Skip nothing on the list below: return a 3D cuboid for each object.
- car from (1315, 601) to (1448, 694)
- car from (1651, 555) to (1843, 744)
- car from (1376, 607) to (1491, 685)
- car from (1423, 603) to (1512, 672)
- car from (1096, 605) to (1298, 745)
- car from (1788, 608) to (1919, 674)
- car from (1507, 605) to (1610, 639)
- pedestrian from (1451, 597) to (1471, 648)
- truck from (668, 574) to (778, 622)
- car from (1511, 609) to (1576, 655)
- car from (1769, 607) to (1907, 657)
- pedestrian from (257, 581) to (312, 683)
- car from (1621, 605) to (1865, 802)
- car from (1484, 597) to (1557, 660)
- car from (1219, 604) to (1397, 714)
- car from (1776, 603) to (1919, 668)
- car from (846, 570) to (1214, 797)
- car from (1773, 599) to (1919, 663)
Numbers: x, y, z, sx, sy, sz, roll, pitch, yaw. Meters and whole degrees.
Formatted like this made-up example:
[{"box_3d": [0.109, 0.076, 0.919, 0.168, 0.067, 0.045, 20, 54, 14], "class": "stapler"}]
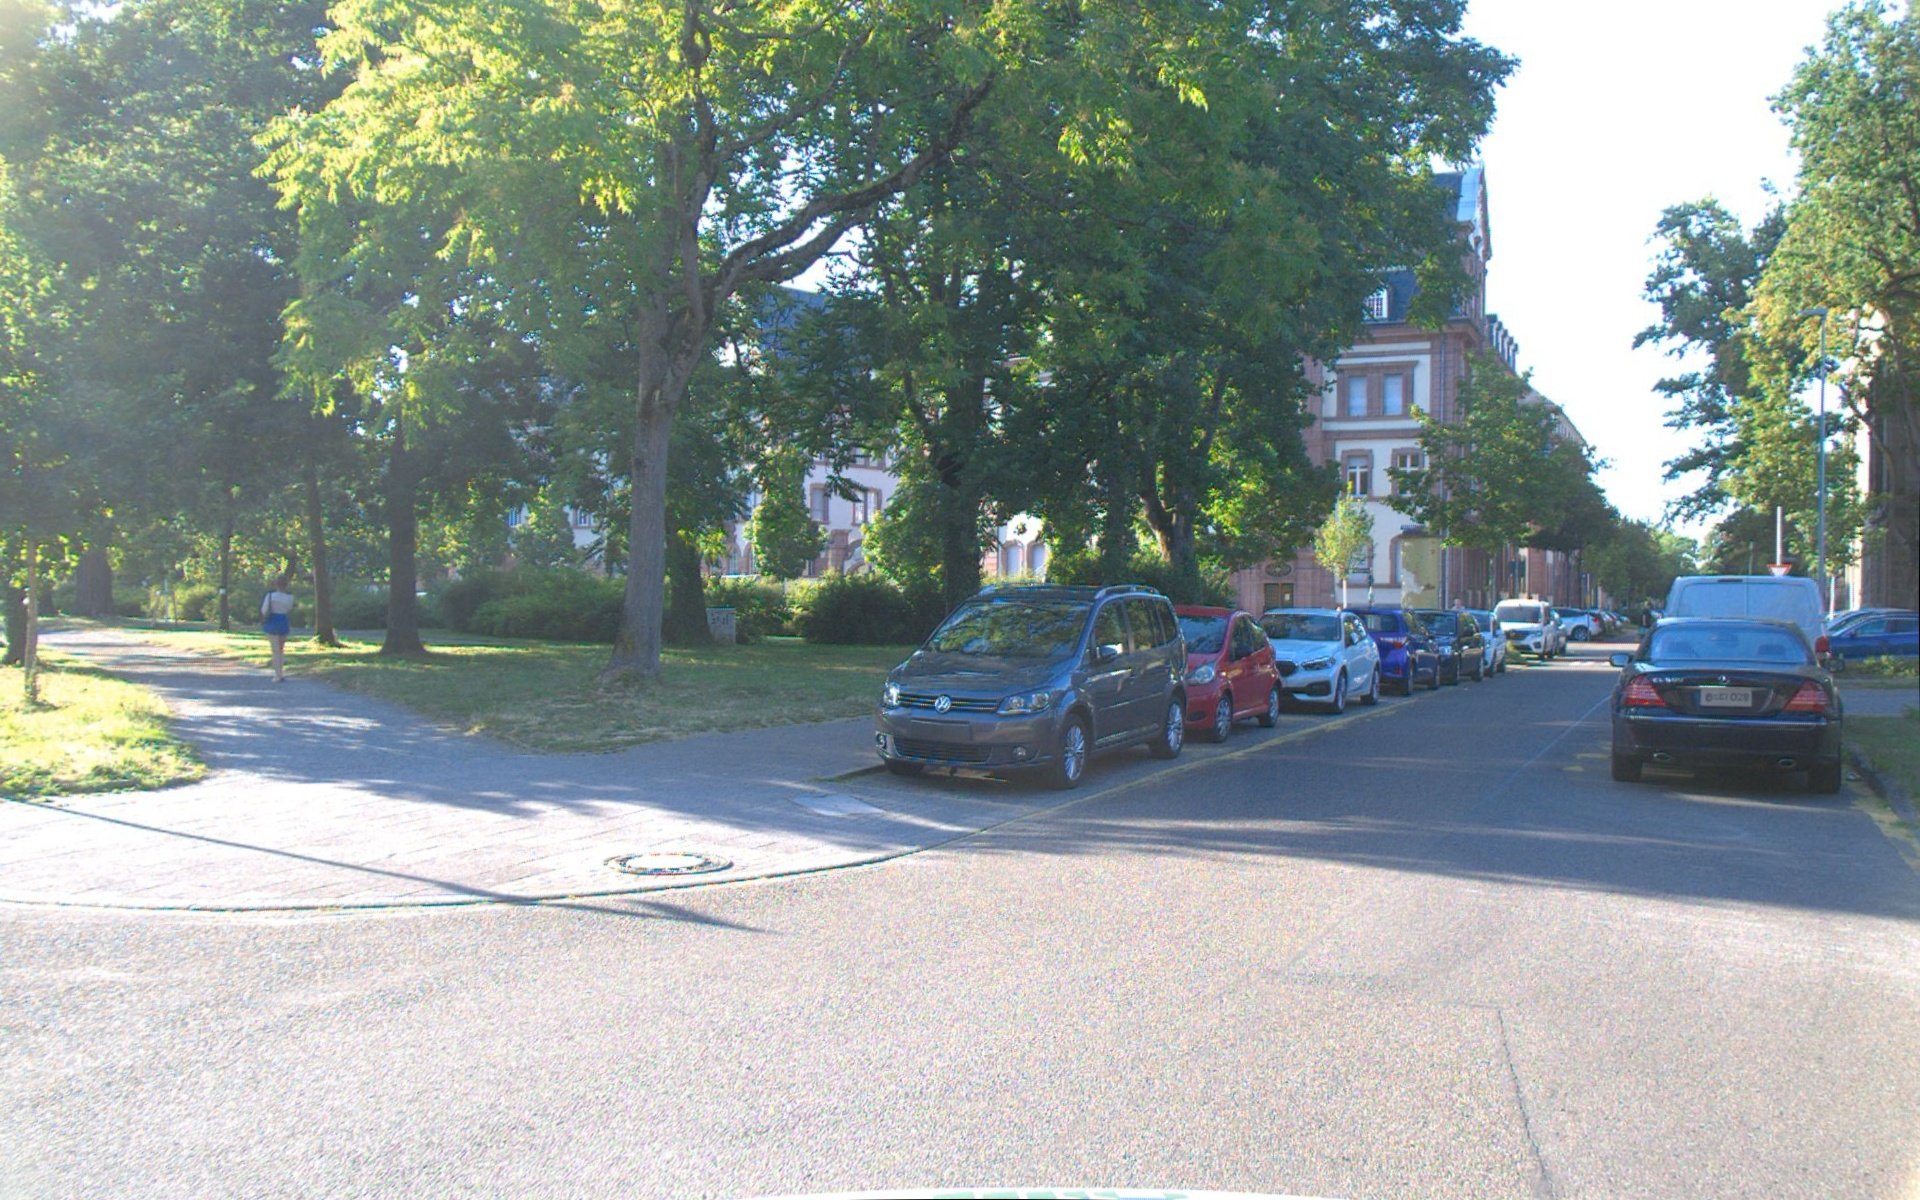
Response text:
[{"box_3d": [7.717, 0.813, 30.064, 1.606, 1.522, 3.702, 2, 1, 26], "class": "car"}, {"box_3d": [9.742, 0.539, 20.735, 1.913, 2.049, 5.151, 1, 0, 23], "class": "car"}, {"box_3d": [9.914, 0.913, 34.490, 1.522, 1.521, 3.937, 0, 0, 28], "class": "car"}, {"box_3d": [12.080, 0.849, 39.219, 1.560, 1.553, 3.863, 0, 0, 24], "class": "car"}, {"box_3d": [2.892, 0.816, 19.656, 1.360, 1.448, 3.423, 2, 1, 26], "class": "car"}, {"box_3d": [22.670, 1.000, 41.087, 3.606, 1.550, 1.791, 0, 0, 22], "class": "car"}, {"box_3d": [29.884, 1.063, 82.621, 4.744, 1.622, 1.841, 1, 0, 23], "class": "car"}, {"box_3d": [17.914, 0.790, 59.106, 0.587, 1.815, 0.946, 0, 0, 22], "class": "pedestrian"}, {"box_3d": [-15.562, -0.163, 108.269, 7.862, 3.082, 2.598, 1, 0, 41], "class": "truck"}, {"box_3d": [20.889, 1.109, 59.155, 1.746, 1.531, 4.549, 1, 0, 25], "class": "car"}, {"box_3d": [28.297, 1.025, 53.430, 3.877, 1.543, 1.871, 0, -3, 27], "class": "car"}, {"box_3d": [-10.745, 0.497, 26.342, 0.762, 1.602, 0.763, 0, 0, -20], "class": "pedestrian"}, {"box_3d": [7.113, 0.804, 15.287, 1.730, 1.494, 4.863, 1, 0, 23], "class": "car"}, {"box_3d": [17.696, 0.861, 52.079, 1.745, 1.873, 4.550, 0, 0, 24], "class": "car"}, {"box_3d": [5.277, 0.819, 24.718, 1.657, 1.430, 3.971, 3, 1, 26], "class": "car"}, {"box_3d": [21.630, 0.841, 38.687, 4.499, 1.440, 1.920, -2, -2, 27], "class": "car"}, {"box_3d": [0.816, 0.650, 15.184, 1.766, 1.705, 4.317, 2, 1, 26], "class": "car"}, {"box_3d": [23.431, 0.806, 43.462, 3.419, 1.612, 1.763, 0, 0, 15], "class": "car"}]
